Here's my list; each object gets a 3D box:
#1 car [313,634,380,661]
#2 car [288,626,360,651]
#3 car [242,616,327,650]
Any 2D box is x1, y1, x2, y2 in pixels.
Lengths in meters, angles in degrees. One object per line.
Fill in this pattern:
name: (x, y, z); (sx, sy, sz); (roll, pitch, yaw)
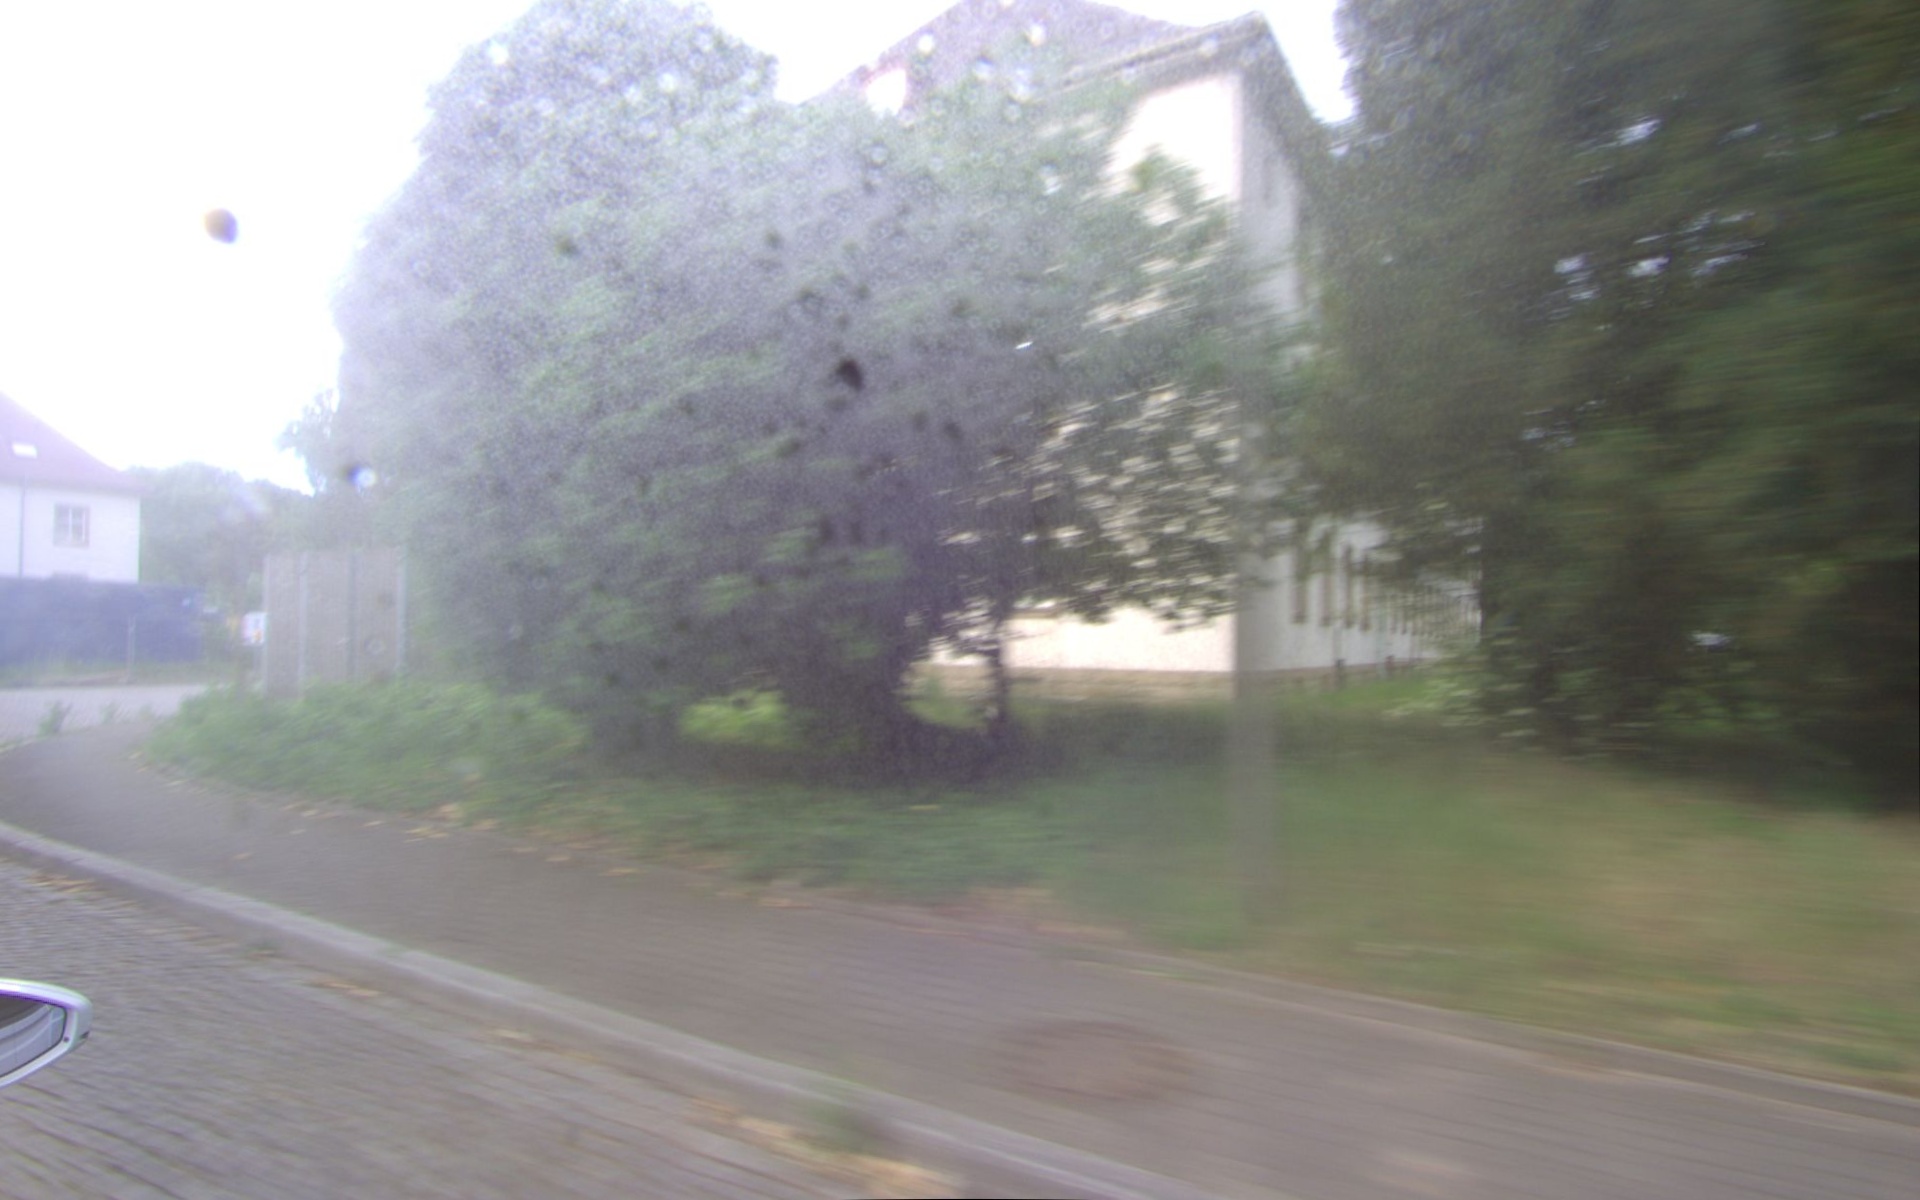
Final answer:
car: (-37.357, 2.895, 61.090); (1.589, 1.506, 3.990); (2, -2, 0)
car: (-40.112, 2.460, 63.287); (1.730, 1.521, 4.448); (1, -2, 0)
car: (-43.021, 2.150, 63.977); (1.730, 2.068, 5.425); (1, -2, 0)
